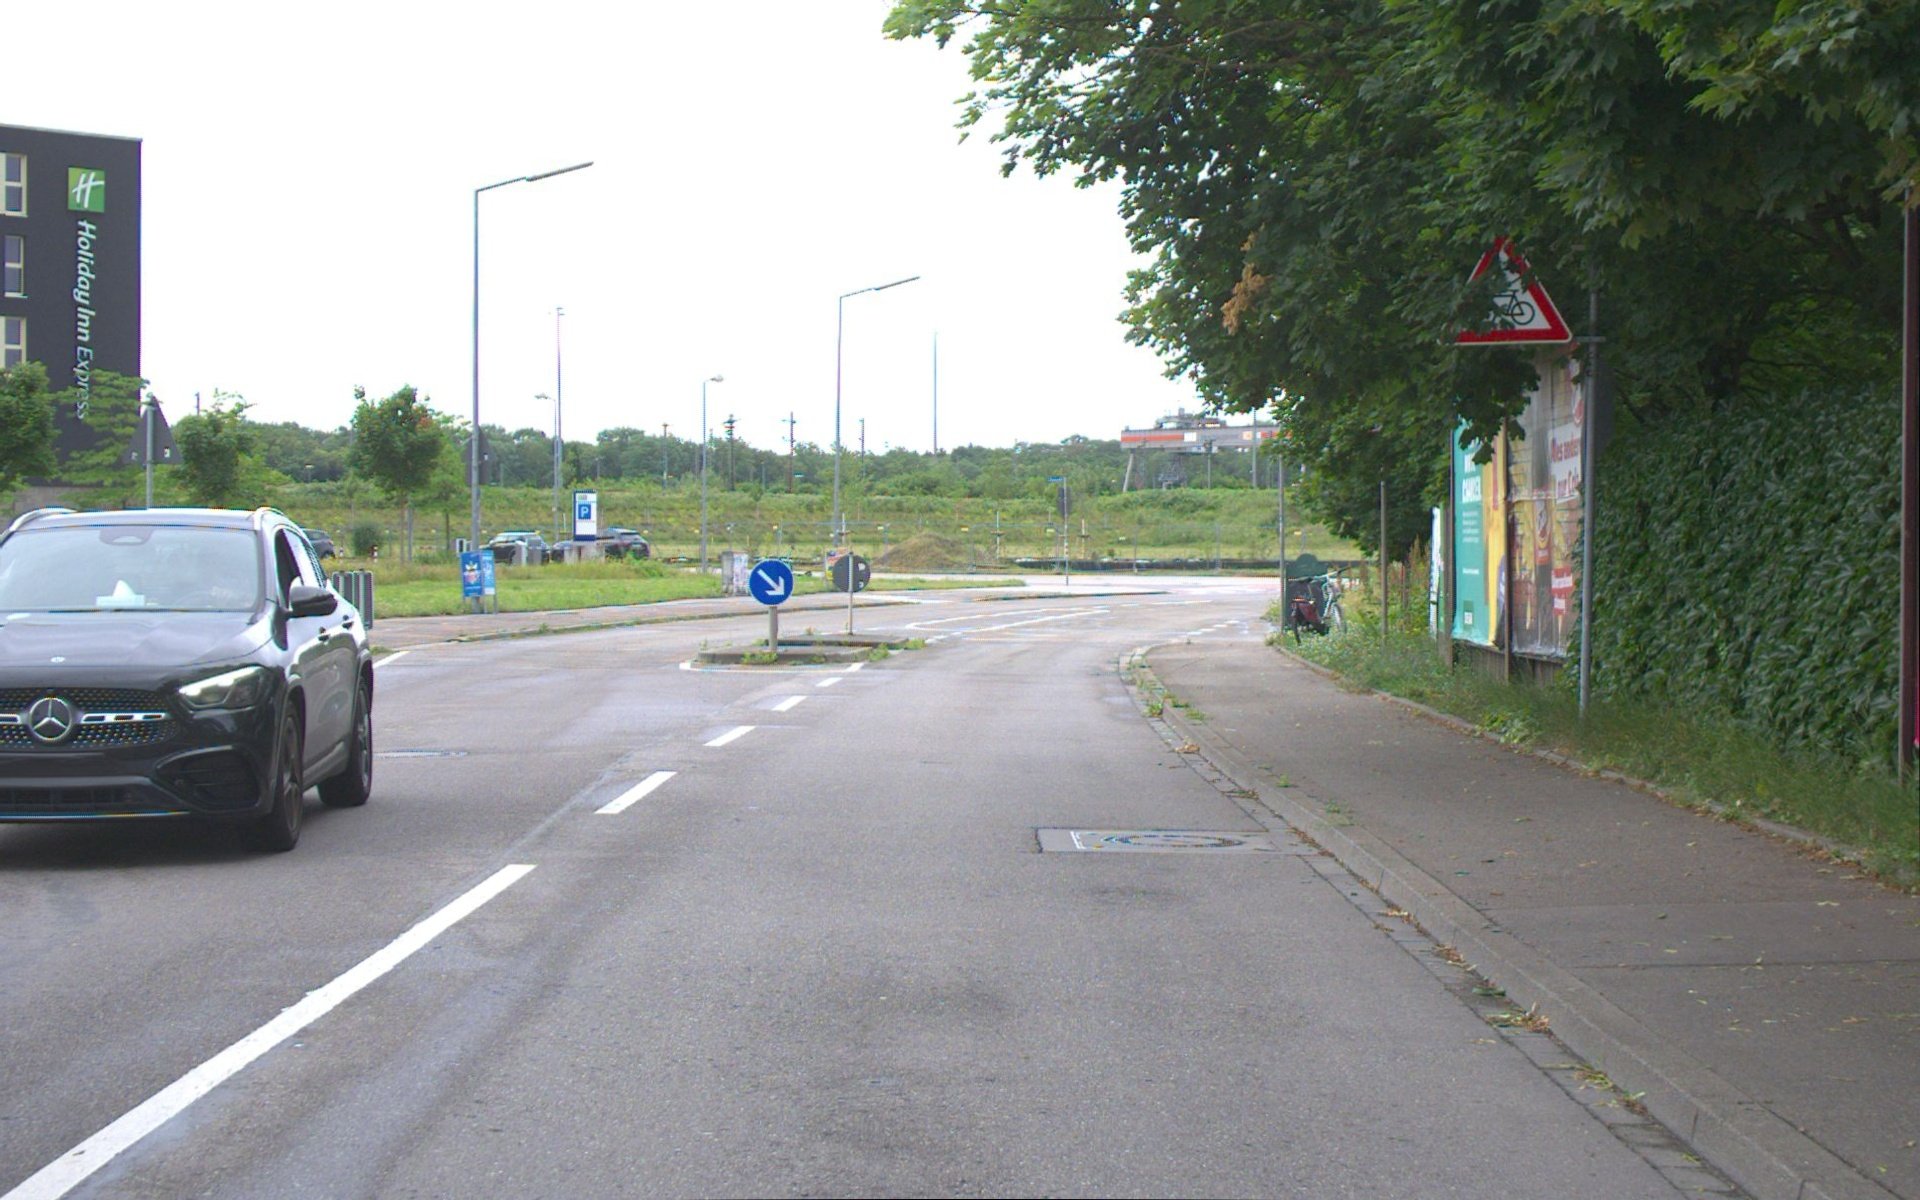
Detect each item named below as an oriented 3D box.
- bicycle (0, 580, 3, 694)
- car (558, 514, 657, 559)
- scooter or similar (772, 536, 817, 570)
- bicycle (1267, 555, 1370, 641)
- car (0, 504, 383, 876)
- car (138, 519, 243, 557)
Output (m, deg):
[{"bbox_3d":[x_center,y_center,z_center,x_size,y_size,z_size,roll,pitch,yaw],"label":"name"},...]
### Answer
[{"bbox_3d":[-9.287,0.378,30.592,0.883,1.048,2.469,0,2,-1],"label":"bicycle"},{"bbox_3d":[-14.767,-2.686,144.022,3.997,1.816,1.995,2,3,42],"label":"car"},{"bbox_3d":[-5.969,-1.693,123.975,1.464,1.164,0.571,2,1,16],"label":"scooter or similar"},{"bbox_3d":[4.757,-0.041,45.509,0.796,1.107,1.950,1,1,23],"label":"bicycle"},{"bbox_3d":[-4.014,0.327,16.905,1.880,1.561,4.359,0,2,-4],"label":"car"},{"bbox_3d":[-32.708,-2.653,146.226,1.997,1.512,4.146,2,2,34],"label":"car"}]
